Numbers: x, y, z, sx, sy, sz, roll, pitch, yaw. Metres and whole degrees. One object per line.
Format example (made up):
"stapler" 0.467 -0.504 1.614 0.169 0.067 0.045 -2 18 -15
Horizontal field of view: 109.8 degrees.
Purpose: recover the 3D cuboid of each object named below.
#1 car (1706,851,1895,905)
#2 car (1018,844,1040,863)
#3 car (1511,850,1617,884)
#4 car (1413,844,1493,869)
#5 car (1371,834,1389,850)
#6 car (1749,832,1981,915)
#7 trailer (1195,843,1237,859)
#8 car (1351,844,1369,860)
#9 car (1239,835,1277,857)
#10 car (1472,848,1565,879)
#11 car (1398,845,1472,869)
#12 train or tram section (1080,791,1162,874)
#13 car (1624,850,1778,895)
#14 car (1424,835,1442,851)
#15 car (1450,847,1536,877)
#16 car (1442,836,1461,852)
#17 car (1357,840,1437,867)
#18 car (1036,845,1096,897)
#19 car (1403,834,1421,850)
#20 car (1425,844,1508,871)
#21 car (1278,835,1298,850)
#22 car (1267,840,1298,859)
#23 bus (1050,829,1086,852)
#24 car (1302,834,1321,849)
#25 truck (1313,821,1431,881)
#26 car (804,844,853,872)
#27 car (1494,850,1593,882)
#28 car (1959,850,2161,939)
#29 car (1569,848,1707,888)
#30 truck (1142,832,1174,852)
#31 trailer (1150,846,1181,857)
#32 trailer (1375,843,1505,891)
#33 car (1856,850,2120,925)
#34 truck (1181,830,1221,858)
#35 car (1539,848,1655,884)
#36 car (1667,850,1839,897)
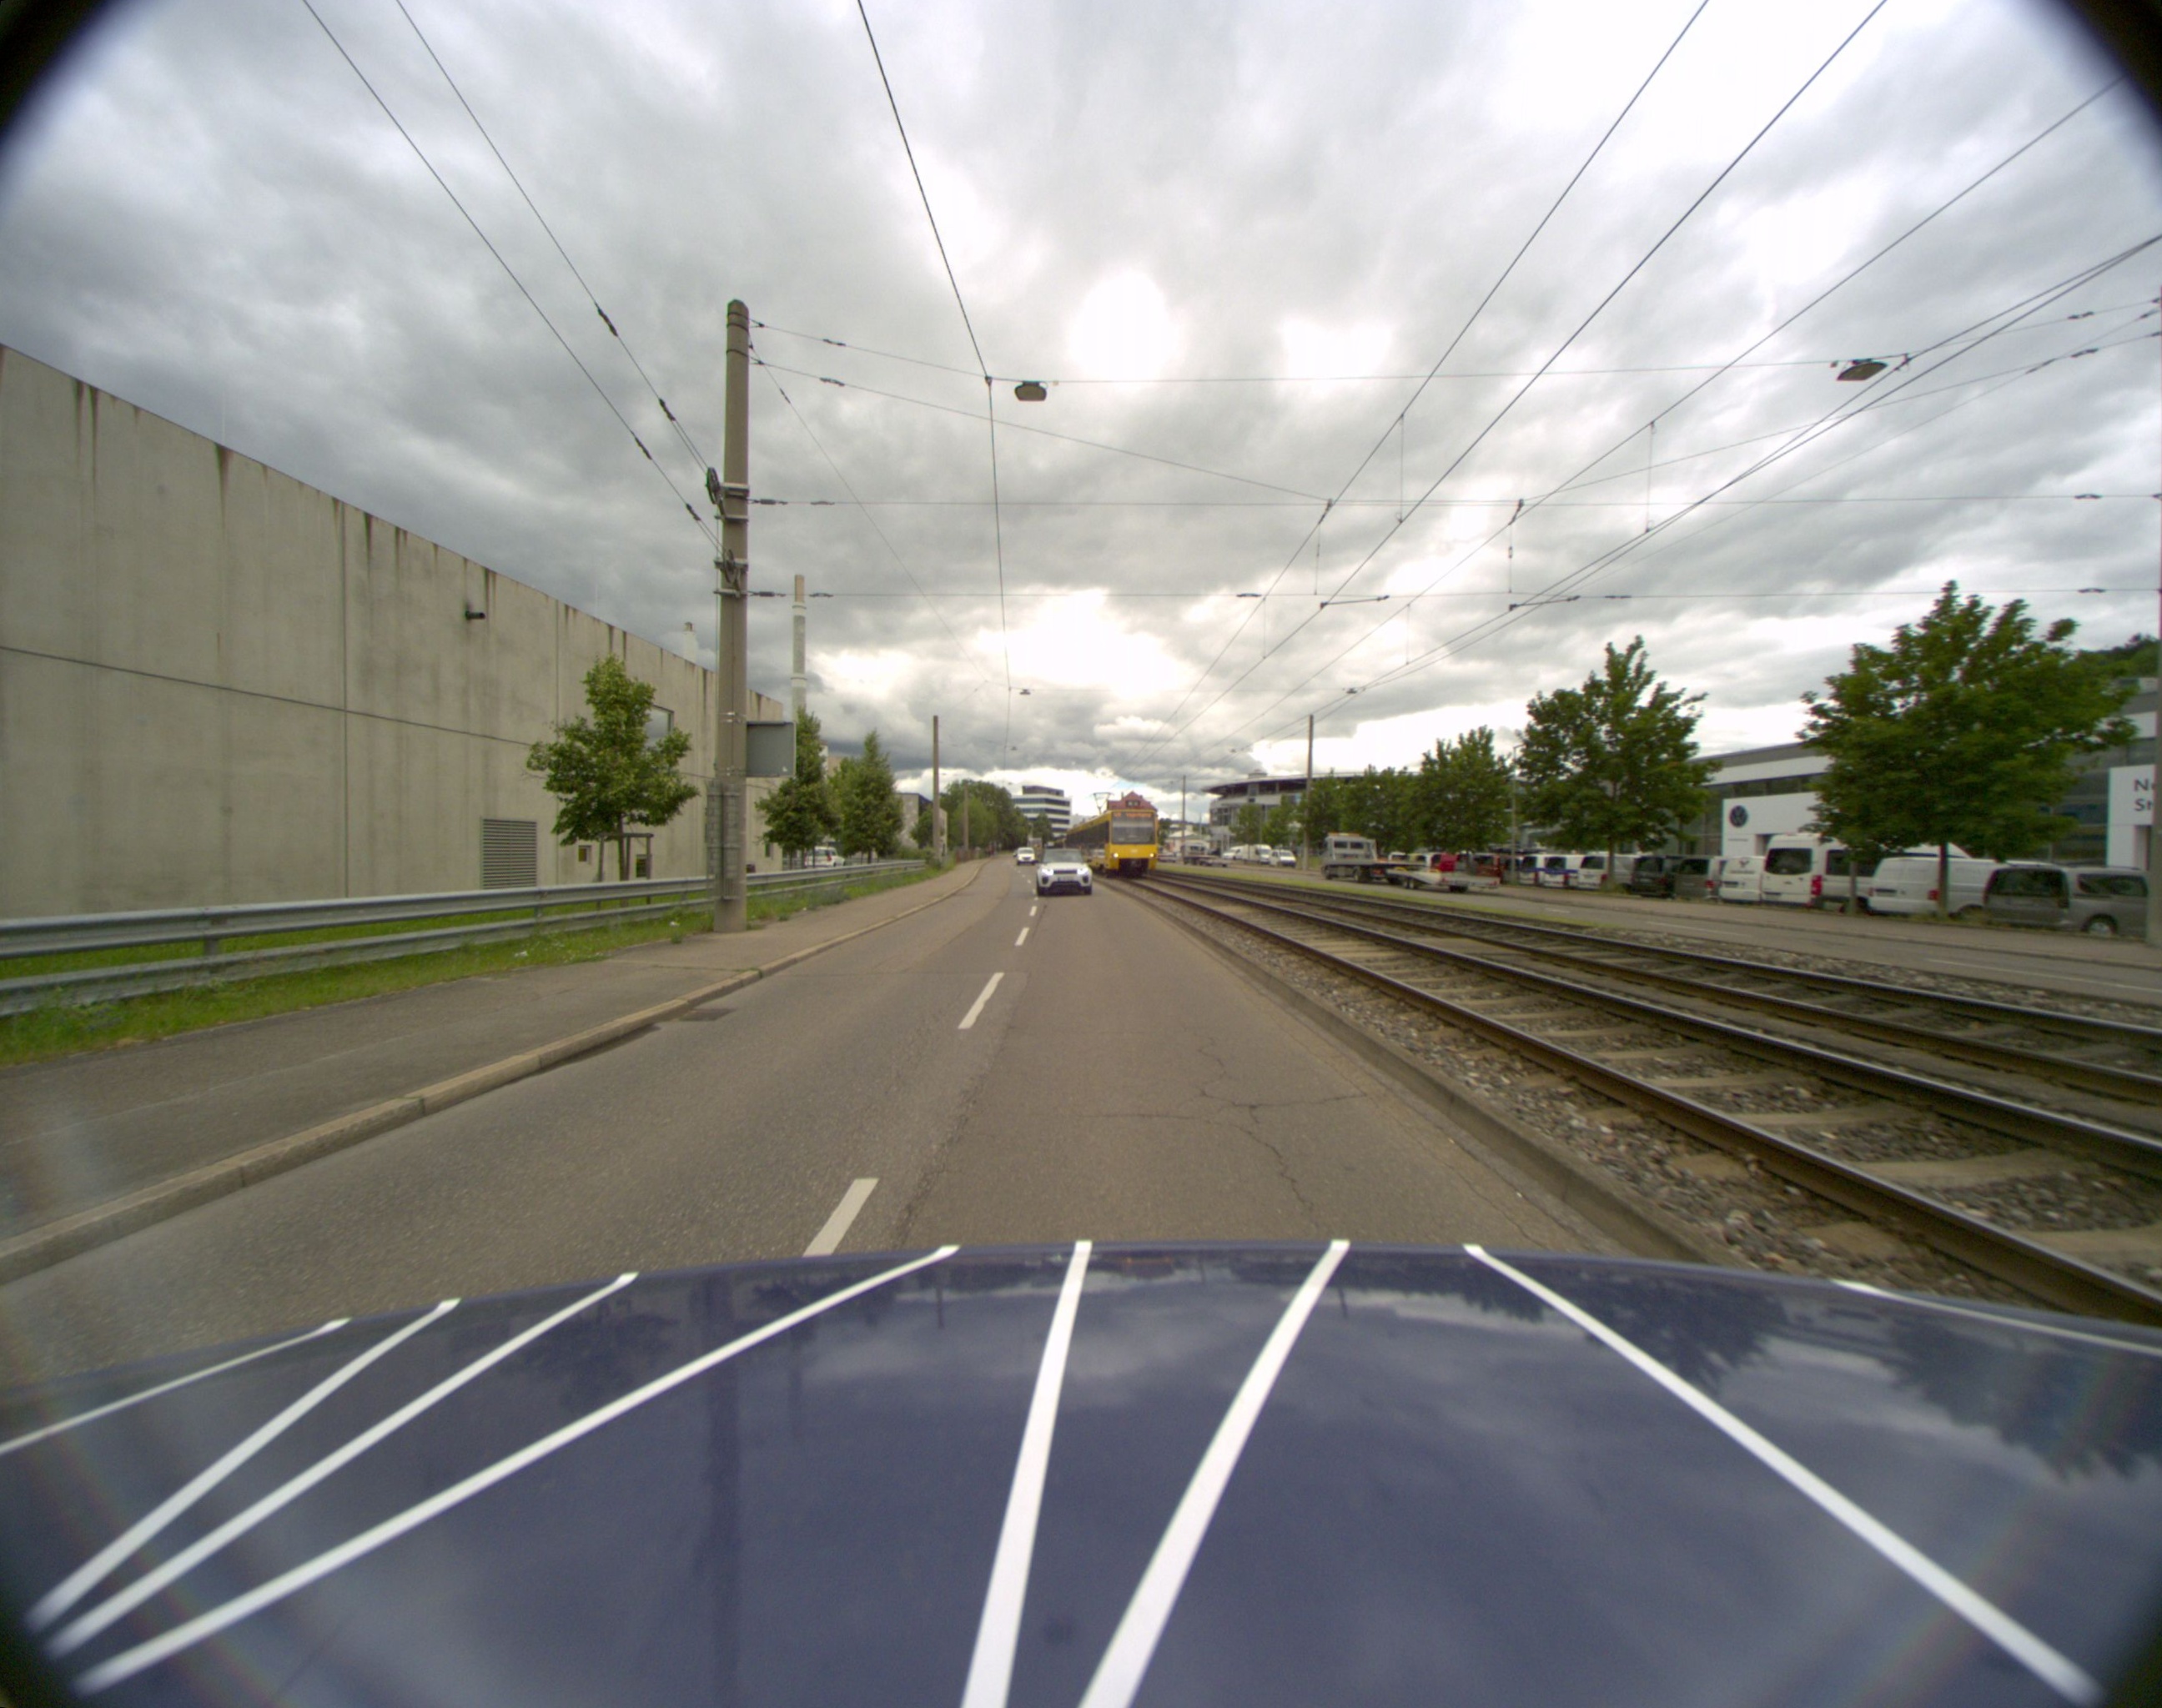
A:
"car" 23.998 0.781 25.490 4.376 1.679 2.031 1 1 0
"car" -5.474 -0.088 79.203 2.000 1.882 4.623 1 1 -7
"car" 24.163 0.619 38.118 3.995 1.609 2.000 1 1 5
"car" 24.937 0.171 51.112 4.354 1.609 2.120 1 1 5
"car" 39.808 -1.601 101.144 1.995 2.002 4.006 1 1 23
"car" 23.189 0.531 22.657 4.506 2.298 2.125 1 1 4
"trailer" 14.335 -0.385 81.171 2.765 1.486 7.222 3 1 -3
"car" 37.048 -0.324 100.970 1.995 2.002 4.006 1 1 23
"car" 21.182 -0.940 91.169 2.001 2.546 5.854 0 1 -15
"car" 24.476 0.505 42.628 3.995 1.609 2.000 1 1 5
"car" 25.170 0.170 54.155 4.345 1.609 2.155 1 1 5
"train or tram section" 1.952 -1.259 45.519 3.397 3.985 16.936 -1 1 -2
"car" 24.665 0.699 30.352 4.375 1.676 2.004 1 1 4
"car" 45.151 -1.430 97.569 1.995 2.002 4.006 1 1 23
"car" 24.543 0.459 45.394 3.995 1.655 2.048 1 1 5
"car" 47.068 -1.321 96.593 1.995 2.002 4.006 1 1 23
"car" 24.747 -0.069 59.722 5.701 1.996 2.147 1 1 21
"car" -0.592 0.535 27.561 1.999 1.718 3.998 -1 1 -3
"car" 42.733 -1.552 98.205 1.995 2.002 4.006 1 1 23
"car" 24.317 0.201 48.044 4.187 1.609 2.063 1 1 5
"car" 28.357 -1.542 103.973 1.995 2.002 4.006 1 1 23
"car" 22.454 -0.527 84.843 1.999 2.002 4.805 0 1 -3
"bus" -2.425 -2.474 136.558 3.564 3.931 10.473 -1 2 -18
"car" 31.263 -1.638 102.948 1.995 2.002 4.006 1 1 23
"truck" 15.316 -0.208 40.888 2.763 2.726 9.217 3 1 1
"car" -15.143 0.206 45.776 1.754 1.565 4.427 -1 0 -5
"car" 24.611 0.627 40.565 3.995 1.609 2.000 1 1 5
"car" 24.207 0.917 17.928 4.375 1.936 2.004 1 1 4
"car" 23.967 0.575 32.844 4.375 1.609 2.004 1 1 4
"truck" 11.707 -1.849 116.562 3.116 2.905 8.956 3 1 -5
"trailer" 11.989 -0.383 108.604 3.058 1.270 7.002 3 1 -4
"trailer" 15.216 0.455 32.850 2.388 1.688 6.947 3 1 1
"car" 24.053 0.829 20.320 4.375 1.834 2.004 1 1 4
"truck" 13.904 -1.173 88.996 2.872 2.964 8.451 3 1 -3
"car" 23.926 0.531 35.363 3.995 1.609 2.000 1 1 5
"car" 24.538 0.671 27.877 4.375 1.609 2.004 1 1 4
